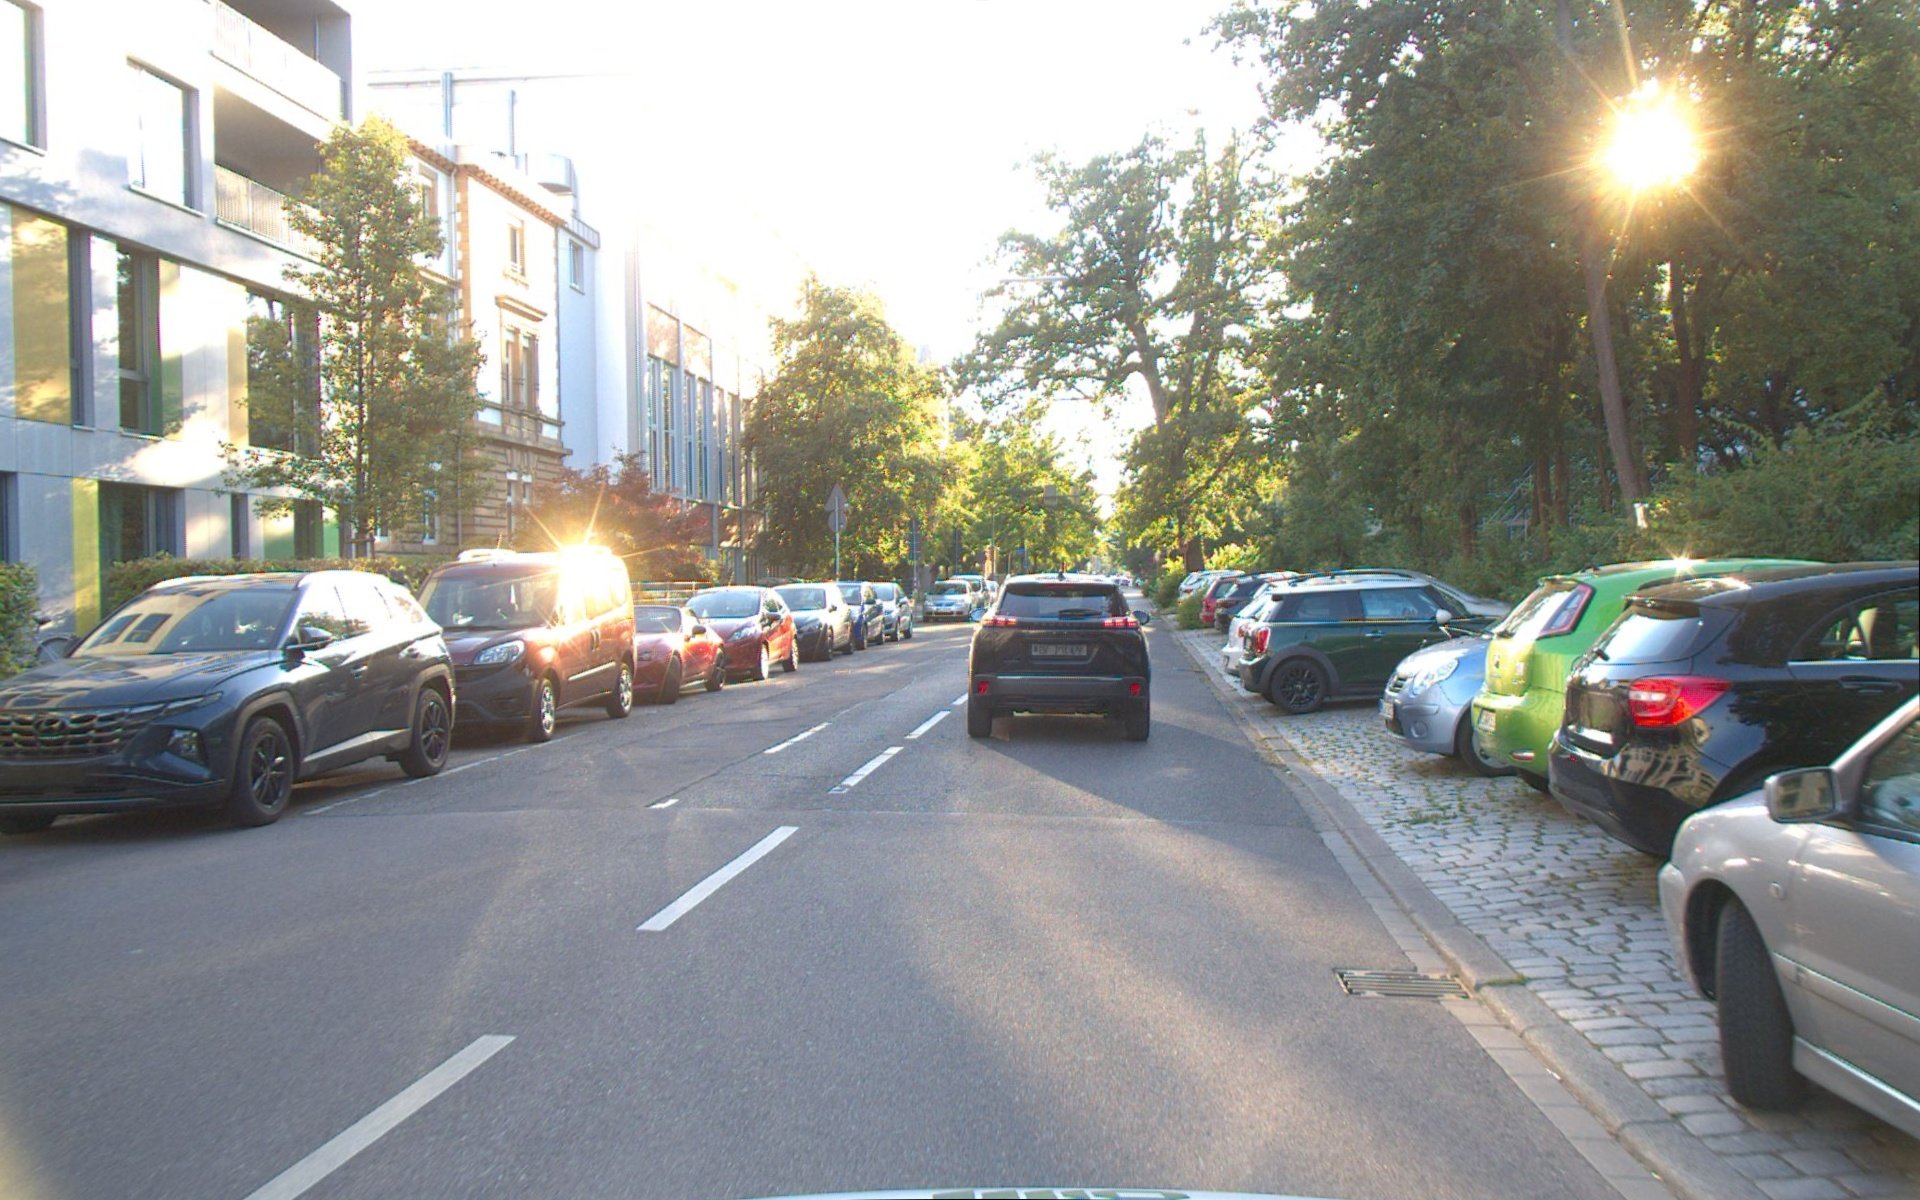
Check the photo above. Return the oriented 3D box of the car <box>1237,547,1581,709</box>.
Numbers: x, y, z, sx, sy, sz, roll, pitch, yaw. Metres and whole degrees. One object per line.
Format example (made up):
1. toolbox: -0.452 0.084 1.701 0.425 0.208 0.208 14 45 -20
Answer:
1. car: 5.138 0.298 19.294 3.535 1.552 1.672 -4 1 4

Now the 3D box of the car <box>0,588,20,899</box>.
1. car: -5.819 0.777 6.453 1.705 1.560 4.118 -2 1 4

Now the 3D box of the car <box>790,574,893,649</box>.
1. car: -2.659 0.225 37.910 1.564 1.534 3.790 -2 1 8

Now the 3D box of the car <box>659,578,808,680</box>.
1. car: -3.616 0.409 27.012 1.565 1.480 3.864 -1 1 5

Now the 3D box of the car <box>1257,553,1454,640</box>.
1. car: 8.215 -0.074 34.658 3.727 1.500 1.833 -4 0 6

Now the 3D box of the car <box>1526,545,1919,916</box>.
1. car: 4.848 0.503 7.694 3.866 1.538 1.741 -2 1 5

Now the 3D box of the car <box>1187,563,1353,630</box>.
1. car: 8.389 -0.110 45.030 4.246 1.500 1.743 -4 1 7

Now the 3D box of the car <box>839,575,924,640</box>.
1. car: -1.974 0.154 42.716 1.567 1.519 3.775 -2 1 6

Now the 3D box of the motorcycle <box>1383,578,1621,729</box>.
1. motorcycle: 5.174 0.507 15.914 2.048 1.326 0.779 -3 0 12

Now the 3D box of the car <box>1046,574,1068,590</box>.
1. car: 8.678 -1.599 148.721 1.773 1.377 4.001 -1 1 1

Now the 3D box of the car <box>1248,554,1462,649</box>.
1. car: 7.551 0.028 31.884 3.727 1.500 1.758 -4 0 6

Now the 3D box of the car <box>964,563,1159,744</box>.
1. car: 1.071 0.453 16.622 1.731 1.595 3.383 1 1 5

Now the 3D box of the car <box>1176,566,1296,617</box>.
1. car: 9.684 -0.299 58.284 4.035 1.696 1.724 -1 1 6

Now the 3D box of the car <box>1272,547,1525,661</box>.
1. car: 7.044 0.069 26.881 3.647 1.524 1.821 -4 0 6

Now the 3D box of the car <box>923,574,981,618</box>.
1. car: -0.257 -0.169 60.107 1.635 1.520 4.064 -1 1 6

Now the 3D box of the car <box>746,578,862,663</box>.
1. car: -3.055 0.363 33.156 1.565 1.480 4.058 -2 1 5

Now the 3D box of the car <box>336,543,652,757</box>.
1. car: -4.730 0.419 17.487 1.769 1.922 4.241 -2 1 5

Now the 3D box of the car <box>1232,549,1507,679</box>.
1. car: 5.940 0.190 24.316 3.590 1.579 1.736 -4 1 4

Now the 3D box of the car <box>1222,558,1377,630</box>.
1. car: 8.747 -0.160 42.825 3.635 1.582 1.742 -4 0 2

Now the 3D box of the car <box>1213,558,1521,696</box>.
1. car: 5.246 0.324 21.692 3.590 1.469 1.736 -4 1 4

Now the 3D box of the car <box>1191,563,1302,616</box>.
1. car: 9.628 -0.350 55.794 3.513 1.593 1.819 -3 0 5

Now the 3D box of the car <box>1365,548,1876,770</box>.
1. car: 4.993 0.436 12.870 3.314 1.552 1.672 -1 0 4

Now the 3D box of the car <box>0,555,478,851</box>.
1. car: -5.179 0.570 11.978 1.705 1.705 4.420 -2 1 5

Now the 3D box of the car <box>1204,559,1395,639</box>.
1. car: 7.610 -0.024 37.403 4.033 1.500 1.833 -4 0 7

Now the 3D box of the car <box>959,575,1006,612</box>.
1. car: 1.019 -0.313 72.103 1.643 1.482 3.885 -2 1 6

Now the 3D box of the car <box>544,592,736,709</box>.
1. car: -4.198 0.616 22.249 1.523 1.302 3.736 -2 1 5

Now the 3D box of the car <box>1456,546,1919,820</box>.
1. car: 5.085 0.462 10.336 3.550 1.567 1.673 -1 1 6

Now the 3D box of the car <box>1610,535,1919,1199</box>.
1. car: 2.962 0.633 3.337 1.617 1.595 4.302 -2 1 1

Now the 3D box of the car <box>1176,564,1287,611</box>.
1. car: 10.334 -0.484 62.983 4.081 1.740 1.869 0 1 10

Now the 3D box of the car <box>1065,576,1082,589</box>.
1. car: 12.925 -2.011 188.612 1.772 1.377 3.980 -1 1 2

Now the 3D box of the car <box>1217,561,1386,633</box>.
1. car: 8.262 -0.080 40.295 3.841 1.479 1.833 -4 0 7
